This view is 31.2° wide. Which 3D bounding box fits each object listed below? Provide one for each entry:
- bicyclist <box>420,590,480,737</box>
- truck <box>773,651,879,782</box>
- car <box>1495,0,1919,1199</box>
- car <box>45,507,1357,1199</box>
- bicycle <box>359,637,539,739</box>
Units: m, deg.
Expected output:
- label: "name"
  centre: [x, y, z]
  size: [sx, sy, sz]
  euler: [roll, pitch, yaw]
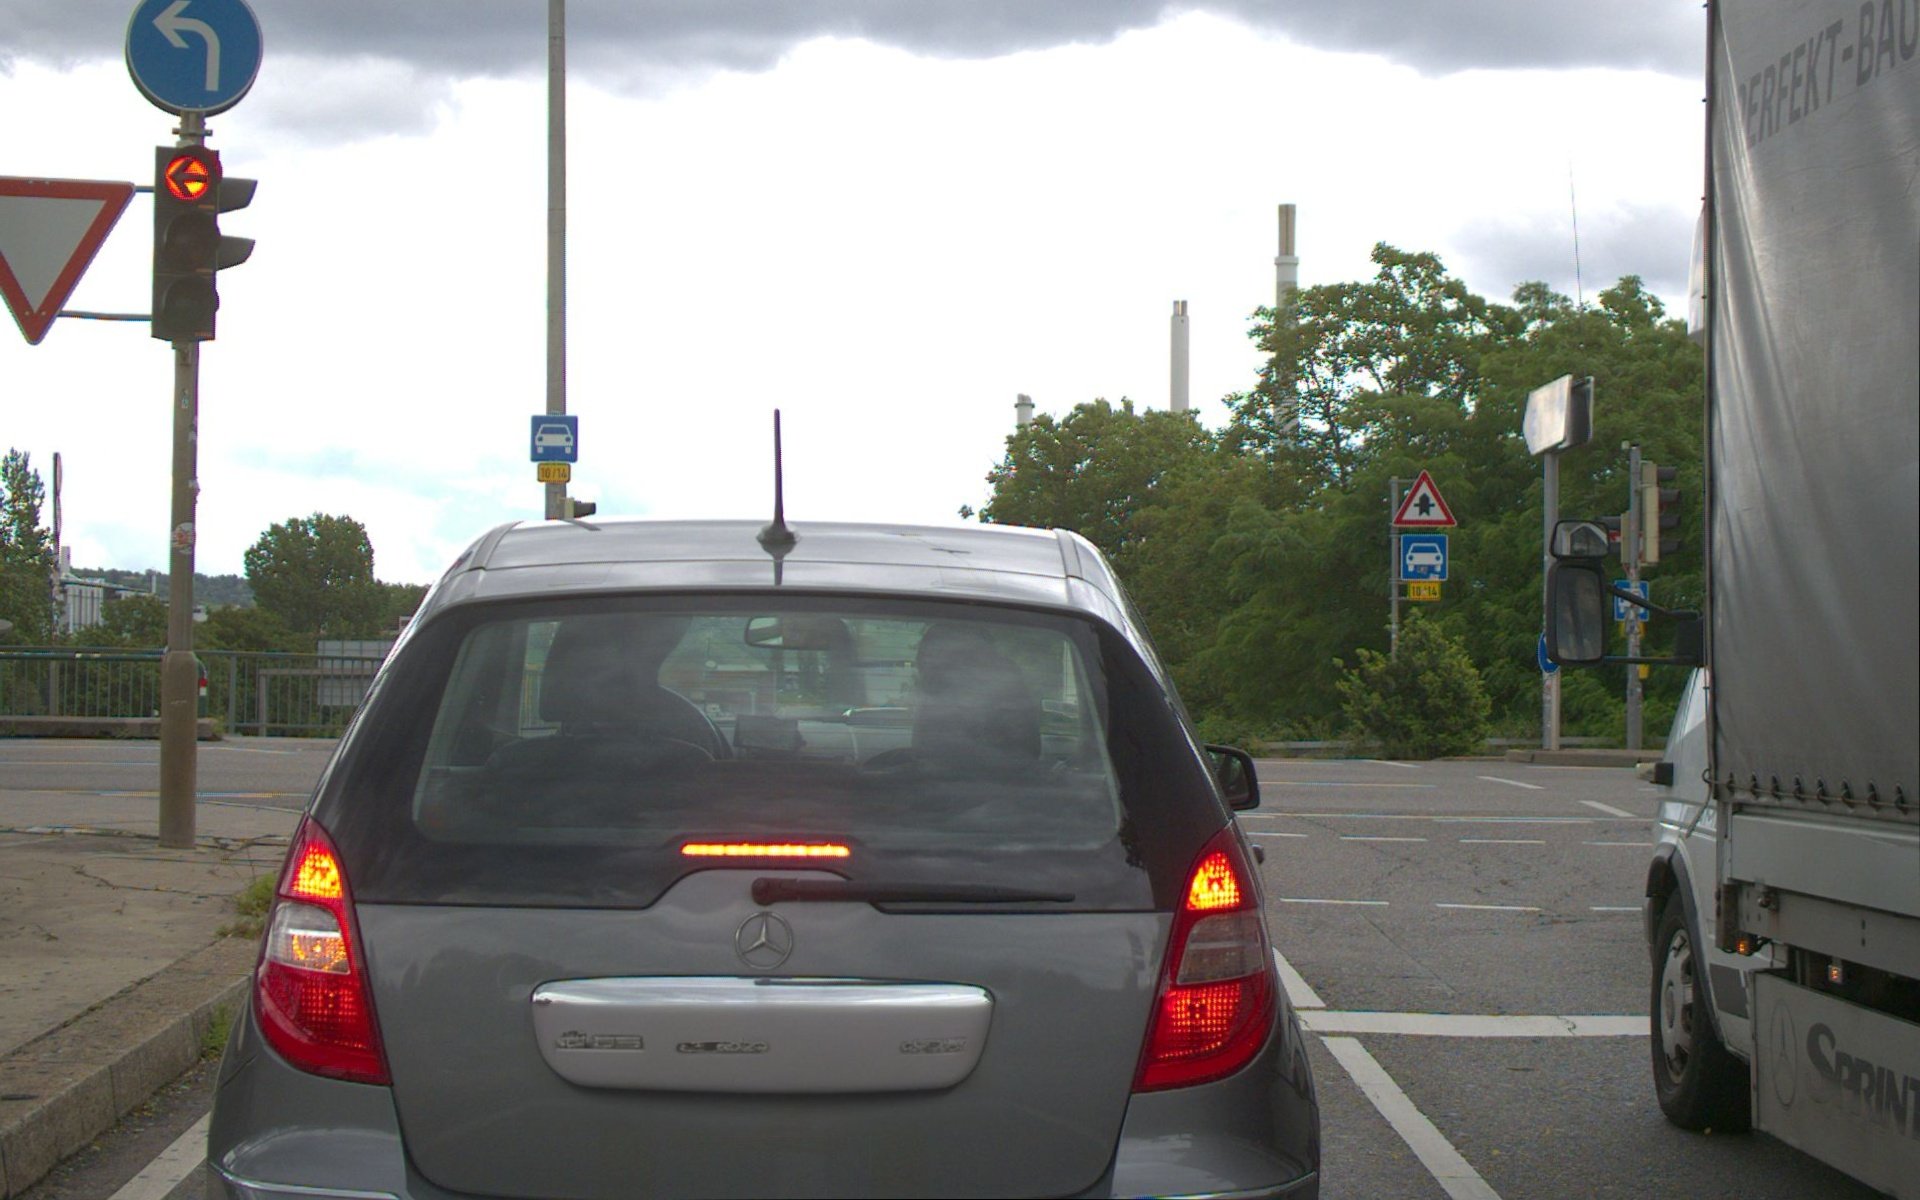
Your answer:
- label: "bicyclist"
  centre: [-5.952, 0.732, 40.065]
  size: [0.653, 1.668, 0.870]
  euler: [0, 1, -11]
- label: "truck"
  centre: [-4.245, 3.532, 107.081]
  size: [2.789, 3.506, 10.250]
  euler: [0, 1, -5]
- label: "car"
  centre: [2.915, -0.197, 6.444]
  size: [2.659, 3.318, 7.091]
  euler: [0, 0, 0]
- label: "car"
  centre: [-0.317, 0.610, 6.874]
  size: [1.858, 1.583, 4.000]
  euler: [0, 2, 2]
- label: "bicycle"
  centre: [-5.964, 1.017, 40.057]
  size: [2.032, 1.121, 0.929]
  euler: [0, 1, -11]
